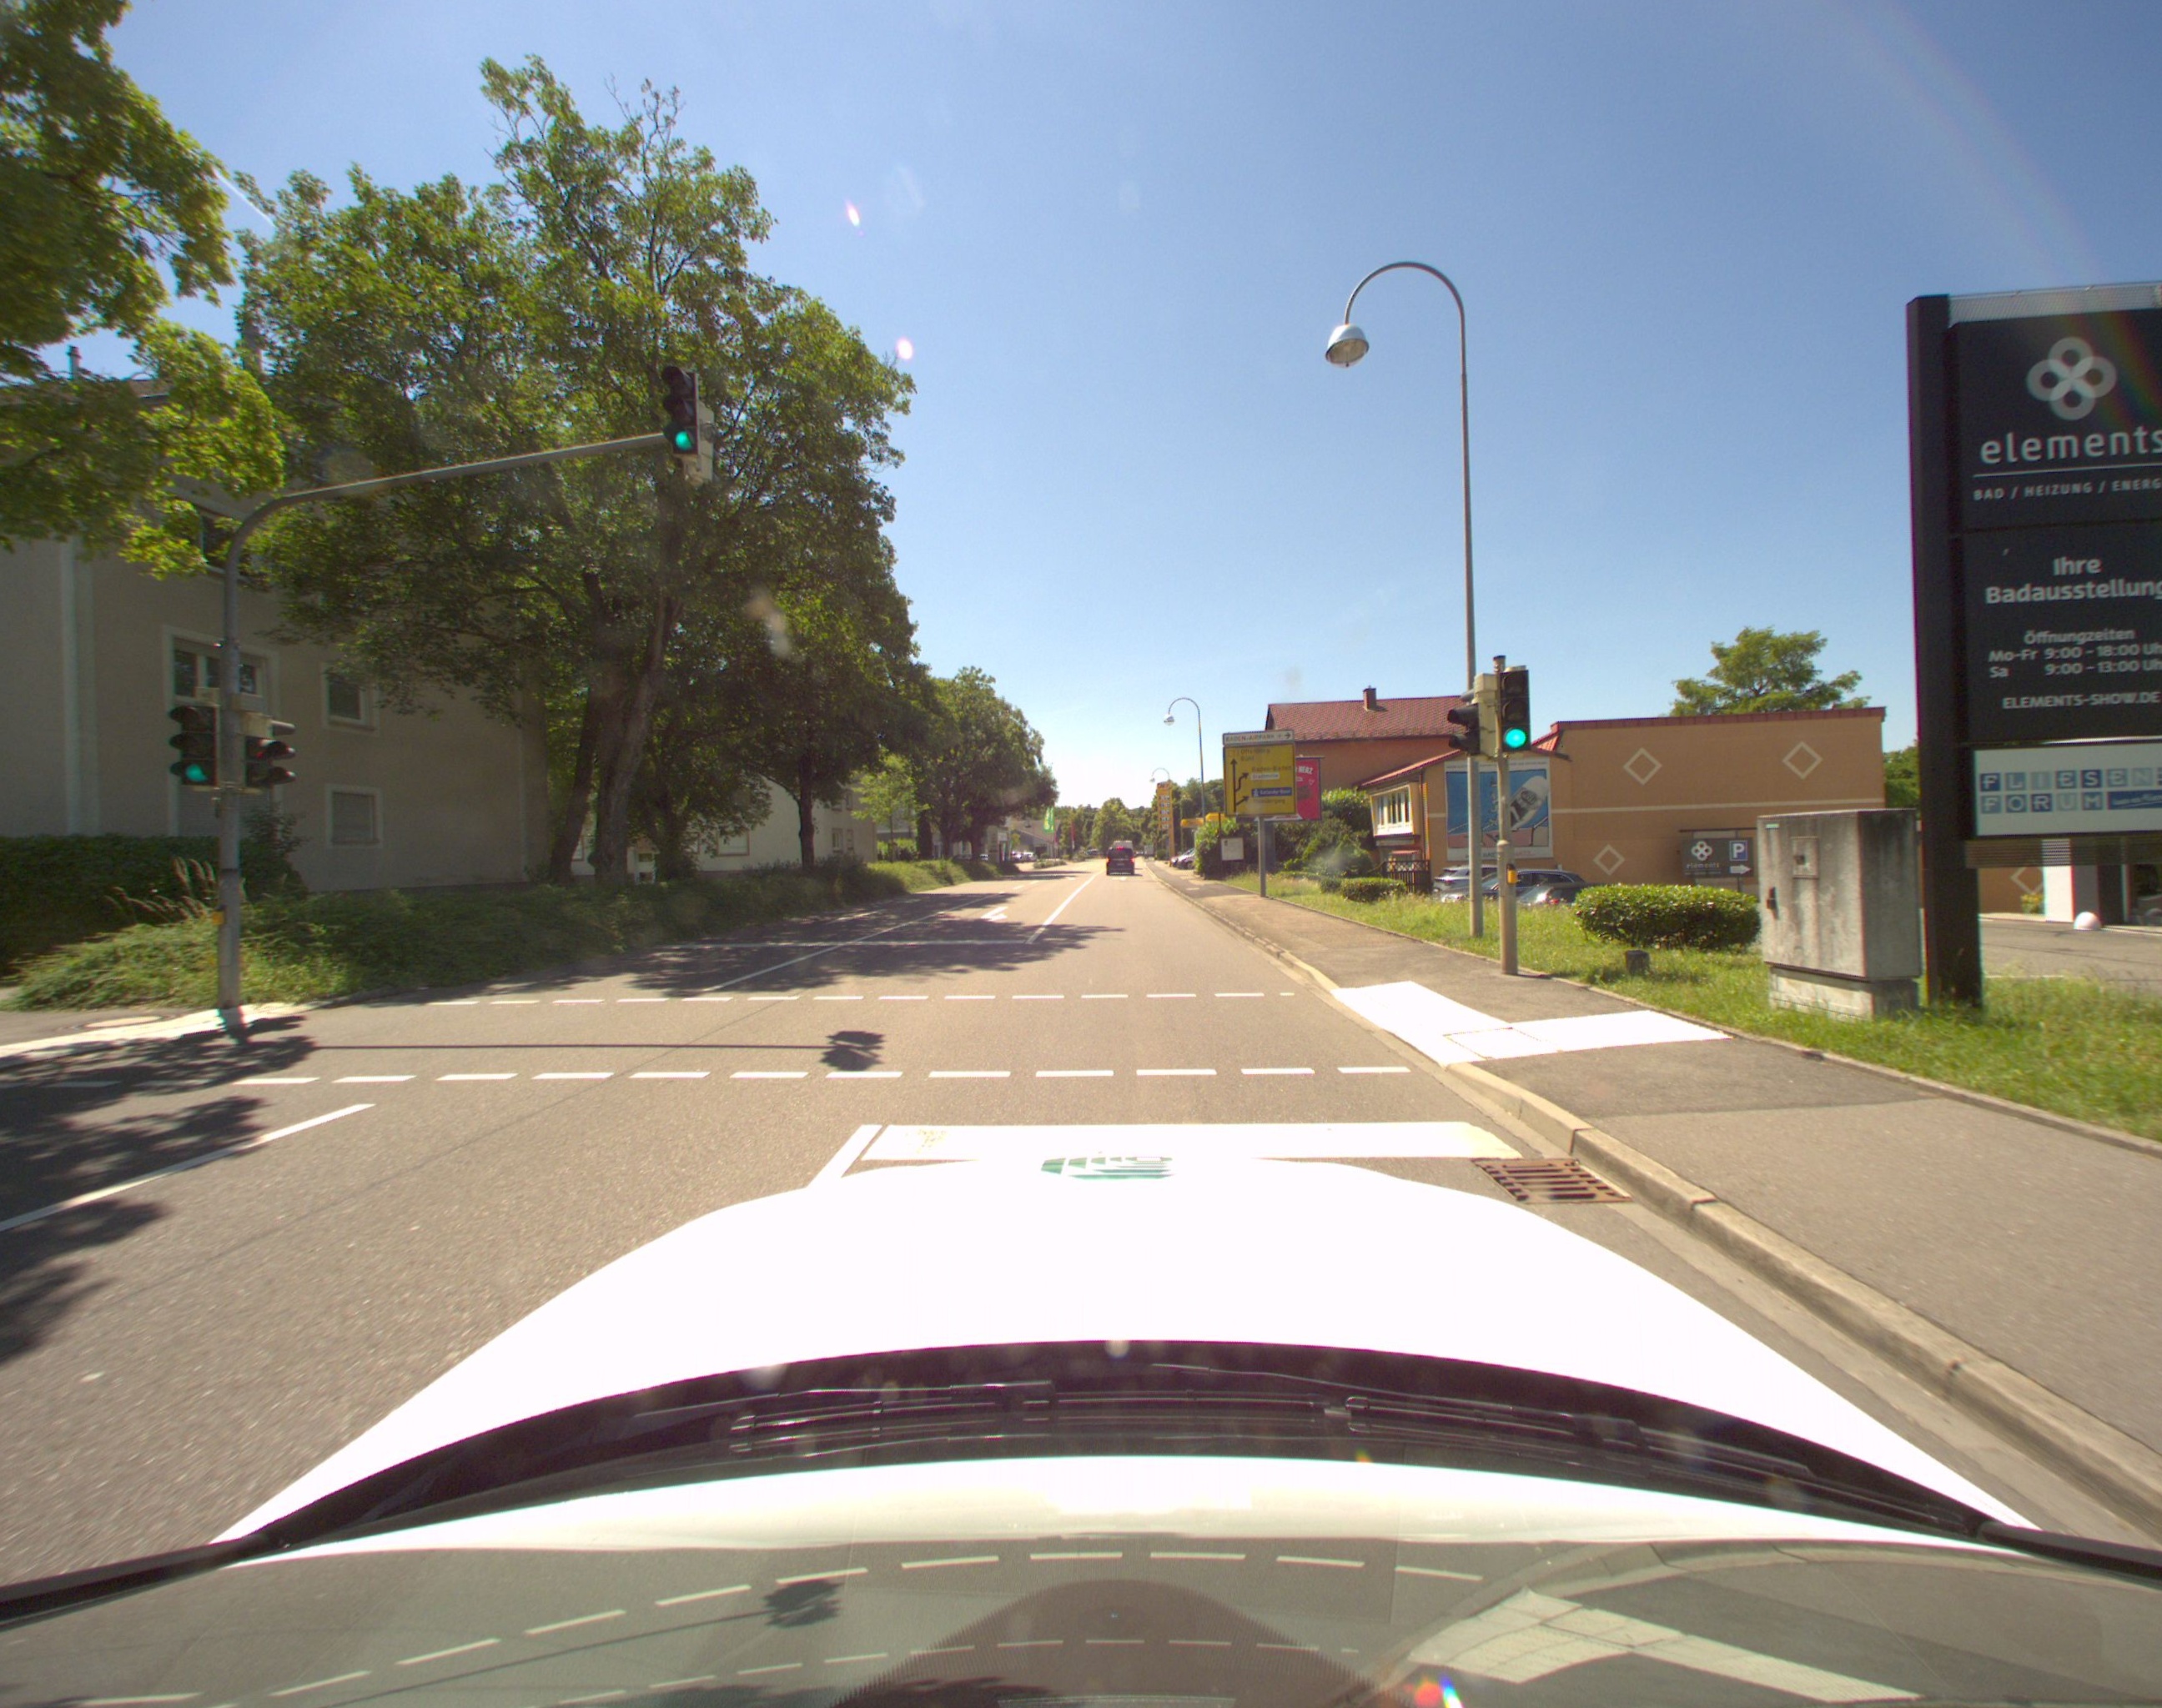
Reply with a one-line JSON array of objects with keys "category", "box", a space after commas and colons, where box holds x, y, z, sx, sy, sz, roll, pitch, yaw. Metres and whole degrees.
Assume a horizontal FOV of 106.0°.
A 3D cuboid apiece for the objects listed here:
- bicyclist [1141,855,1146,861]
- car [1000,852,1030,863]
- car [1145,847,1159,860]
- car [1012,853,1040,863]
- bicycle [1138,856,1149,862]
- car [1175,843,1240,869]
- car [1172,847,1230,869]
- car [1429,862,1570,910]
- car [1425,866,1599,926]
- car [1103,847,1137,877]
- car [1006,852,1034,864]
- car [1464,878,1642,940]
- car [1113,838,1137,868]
[{"category": "bicyclist", "box": [9.652, 0.640, 125.869, 0.471, 0.853, 0.552, -3, 3, -32]}, {"category": "car", "box": [-9.978, 0.494, 122.950, 4.008, 1.706, 1.912, 0, 1, 19]}, {"category": "car", "box": [15.008, -0.143, 171.822, 2.337, 2.546, 4.973, 0, 1, 12]}, {"category": "car", "box": [-8.815, 0.642, 130.793, 3.960, 1.662, 2.007, 0, 1, 12]}, {"category": "bicycle", "box": [9.685, 0.784, 125.887, 1.727, 0.887, 0.552, -3, 3, -33]}, {"category": "car", "box": [9.605, 0.155, 62.199, 4.544, 1.717, 1.999, -3, 1, -2]}, {"category": "car", "box": [9.450, 0.288, 64.323, 4.146, 1.456, 1.906, -3, 1, -2]}, {"category": "car", "box": [15.272, 1.169, 29.923, 4.234, 1.599, 1.895, -1, 0, 9]}, {"category": "car", "box": [12.808, 1.227, 24.424, 4.253, 1.646, 1.892, 0, 1, 4]}, {"category": "car", "box": [2.582, 0.481, 54.288, 1.988, 1.893, 3.998, 0, 1, -1]}, {"category": "car", "box": [-9.561, 0.692, 127.374, 3.958, 1.832, 1.954, 0, 1, 14]}, {"category": "car", "box": [11.994, 1.371, 20.885, 3.601, 1.417, 1.702, 0, 1, 7]}, {"category": "car", "box": [4.059, -0.105, 75.772, 2.111, 2.677, 5.666, 0, 1, 3]}]
